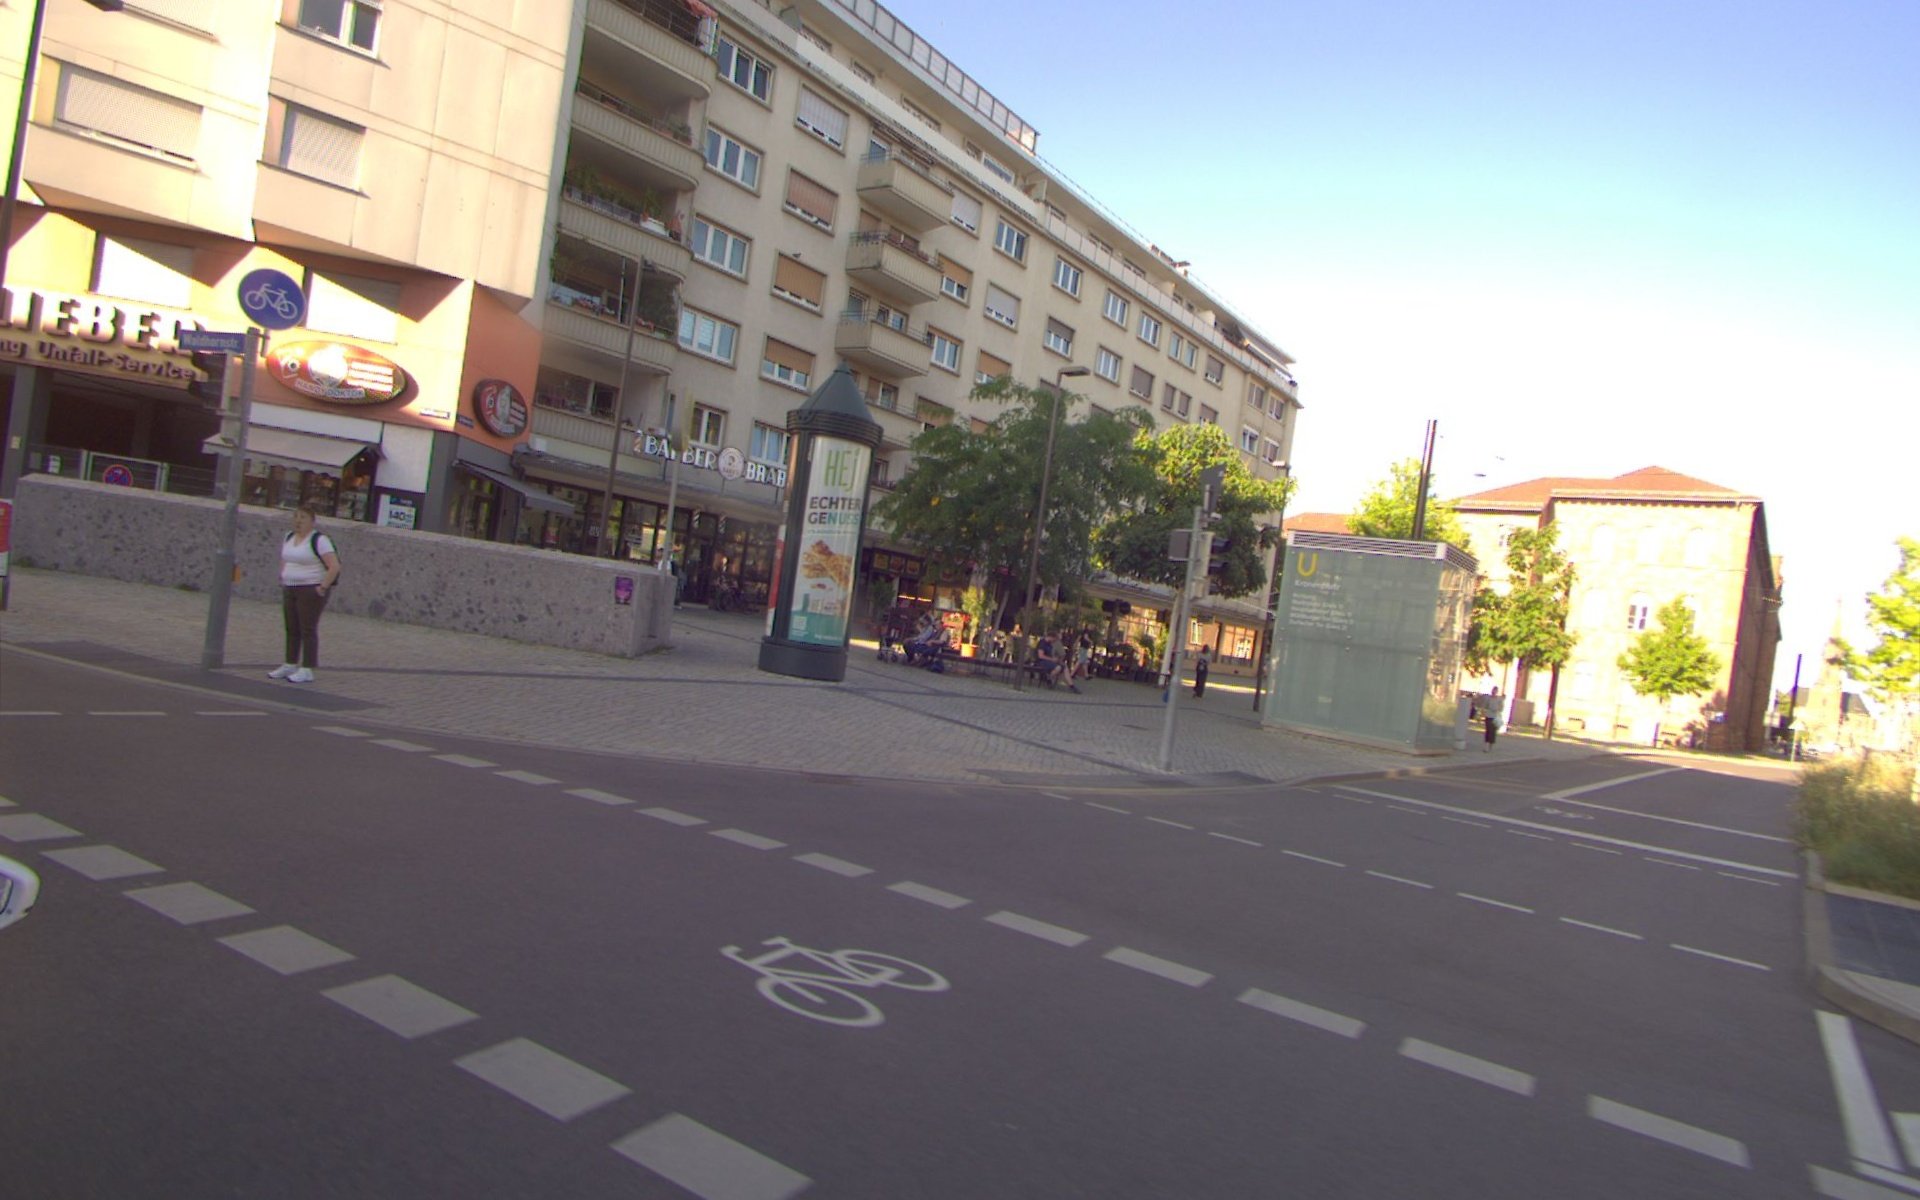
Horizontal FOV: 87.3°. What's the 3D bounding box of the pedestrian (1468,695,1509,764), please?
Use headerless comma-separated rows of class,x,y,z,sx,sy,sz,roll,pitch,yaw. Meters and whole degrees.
pedestrian,13.913,3.405,26.493,0.625,1.690,0.753,10,1,36

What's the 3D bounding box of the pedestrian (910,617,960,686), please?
pedestrian,-0.596,1.196,23.537,0.711,1.436,0.925,10,1,-17

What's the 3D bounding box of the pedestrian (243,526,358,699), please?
pedestrian,-6.553,0.123,10.018,0.547,1.602,0.541,10,0,-2

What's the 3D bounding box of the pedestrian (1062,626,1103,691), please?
pedestrian,3.615,1.733,29.726,0.705,1.766,0.682,10,1,30

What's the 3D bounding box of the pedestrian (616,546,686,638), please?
pedestrian,-6.989,-0.167,22.757,0.678,1.888,1.040,10,1,43

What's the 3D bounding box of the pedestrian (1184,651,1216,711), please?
pedestrian,7.226,2.435,30.293,0.499,1.690,0.474,10,1,43

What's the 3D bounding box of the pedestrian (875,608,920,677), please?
pedestrian,-1.504,1.001,23.964,0.710,1.463,0.927,10,1,-12

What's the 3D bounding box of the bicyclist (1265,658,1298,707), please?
bicyclist,14.167,3.628,44.392,0.884,1.972,0.786,10,1,2

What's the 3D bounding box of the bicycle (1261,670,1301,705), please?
bicycle,14.130,3.839,44.332,0.884,1.267,2.214,10,0,2

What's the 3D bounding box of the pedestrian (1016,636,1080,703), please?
pedestrian,2.112,1.673,24.117,1.090,1.381,0.720,11,1,33
